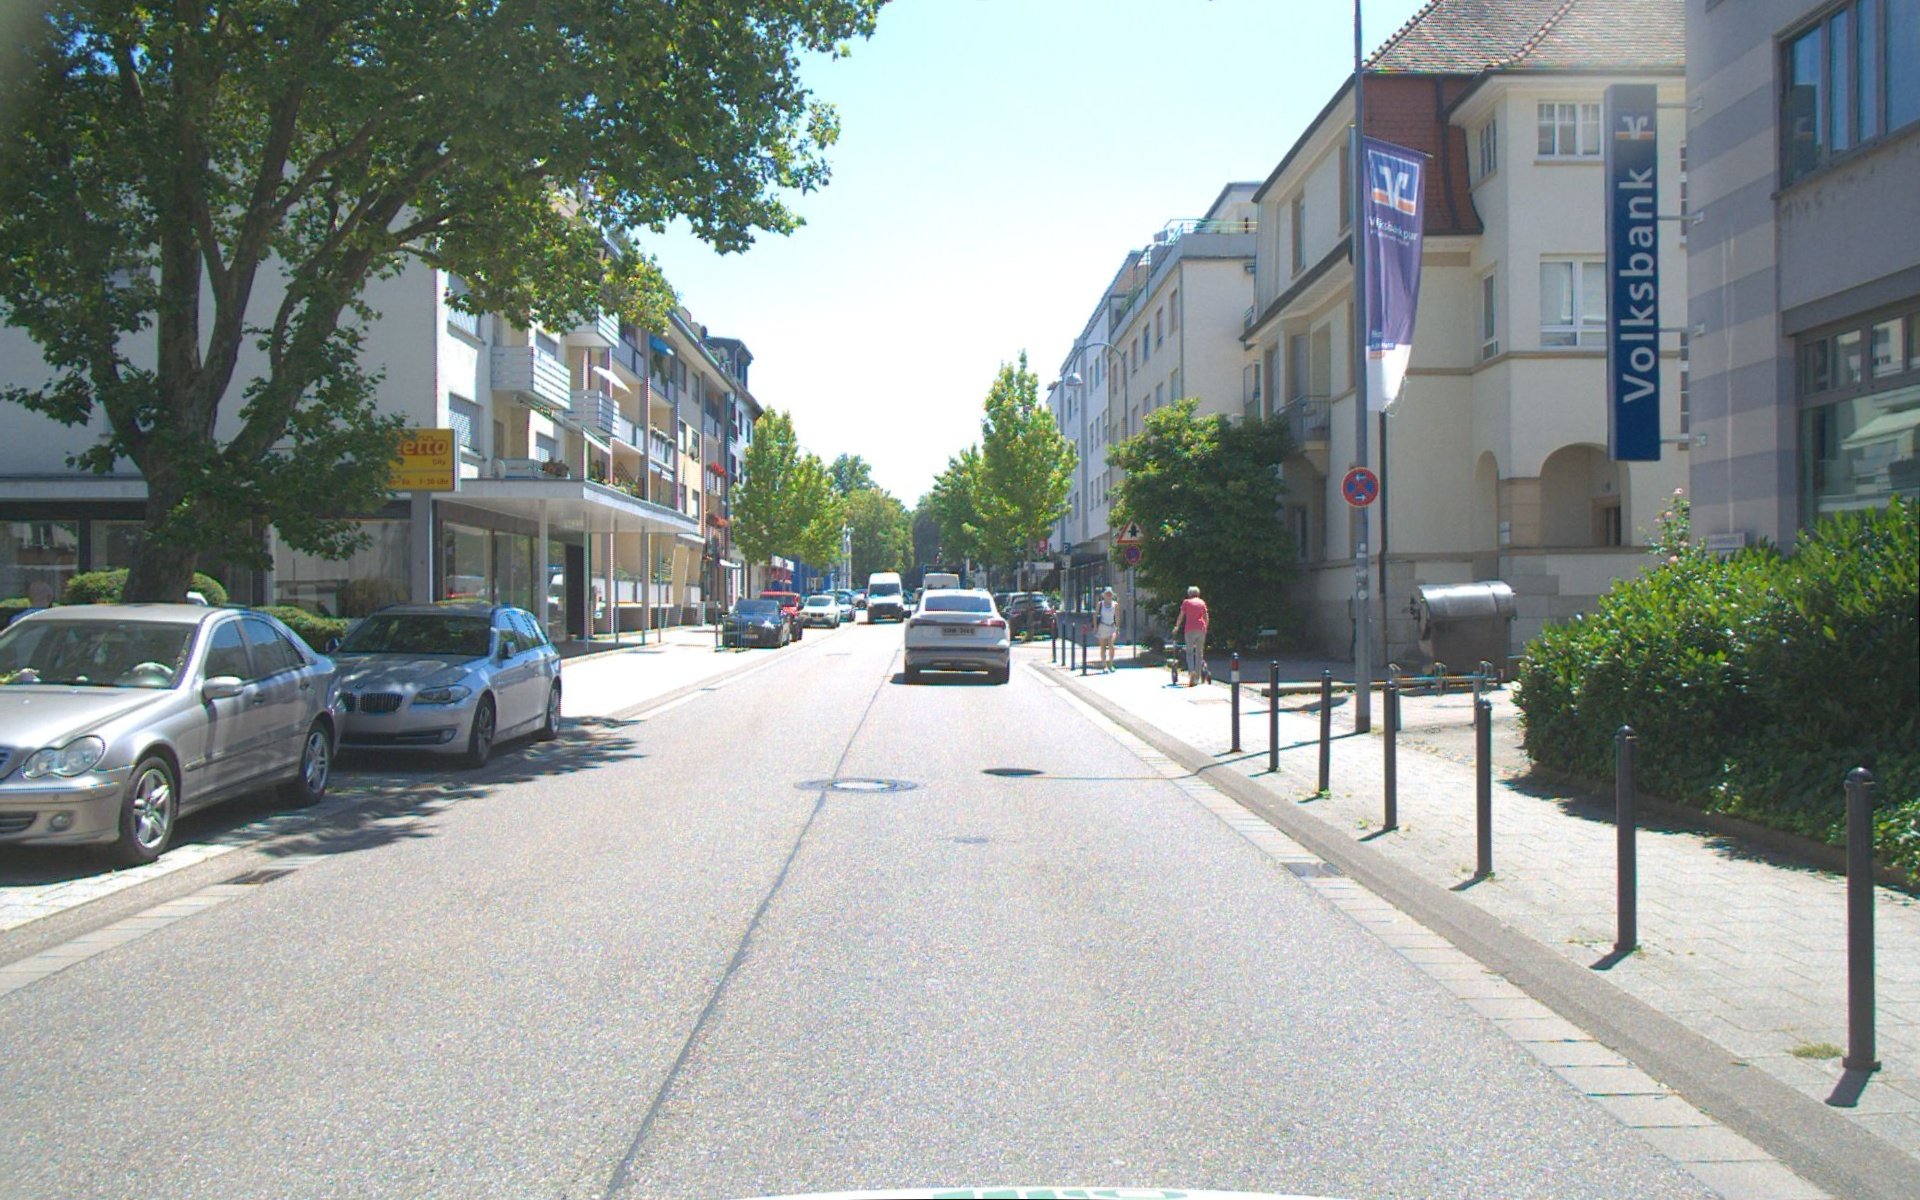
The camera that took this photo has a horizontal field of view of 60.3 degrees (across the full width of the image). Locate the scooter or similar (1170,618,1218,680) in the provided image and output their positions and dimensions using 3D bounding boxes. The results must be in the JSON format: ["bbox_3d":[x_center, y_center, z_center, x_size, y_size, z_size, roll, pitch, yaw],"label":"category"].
[{"bbox_3d":[3.879,0.810,27.480,0.650,0.980,0.753,-1,0,-1],"label":"scooter or similar"}]

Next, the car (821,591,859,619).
[{"bbox_3d":[-6.703,0.249,92.535,1.716,1.478,4.401,1,0,1],"label":"car"}]

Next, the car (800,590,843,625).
[{"bbox_3d":[-6.796,0.349,81.665,1.716,1.646,4.400,1,0,0],"label":"car"}]

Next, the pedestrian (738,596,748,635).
[{"bbox_3d":[-9.900,0.709,75.543,0.388,1.765,0.444,-1,0,-12],"label":"pedestrian"}]

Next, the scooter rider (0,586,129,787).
[{"bbox_3d":[-7.473,0.697,13.818,0.576,1.603,0.877,2,0,0],"label":"scooter rider"}]

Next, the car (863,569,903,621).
[{"bbox_3d":[-4.207,-0.300,91.349,1.995,2.676,7.105,-2,0,-1],"label":"car"}]

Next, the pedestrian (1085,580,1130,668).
[{"bbox_3d":[2.875,0.467,32.204,0.686,1.655,0.783,-3,0,-3],"label":"pedestrian"}]

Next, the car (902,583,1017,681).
[{"bbox_3d":[-0.081,0.548,30.607,1.953,1.661,3.998,1,0,-2],"label":"car"}]

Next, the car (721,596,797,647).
[{"bbox_3d":[-6.246,0.639,51.889,1.858,1.442,5.046,2,0,-2],"label":"car"}]

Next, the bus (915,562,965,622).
[{"bbox_3d":[-1.100,-0.450,96.142,2.606,3.278,7.302,1,0,1],"label":"bus"}]

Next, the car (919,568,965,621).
[{"bbox_3d":[-0.901,-0.243,81.735,2.112,2.484,5.282,1,0,-1],"label":"car"}]

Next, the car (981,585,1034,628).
[{"bbox_3d":[1.992,0.273,70.758,1.819,1.704,4.534,-2,0,-4],"label":"car"}]

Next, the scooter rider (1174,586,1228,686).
[{"bbox_3d":[3.900,0.565,26.816,0.701,1.575,0.770,-2,0,-3],"label":"scooter rider"}]

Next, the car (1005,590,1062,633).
[{"bbox_3d":[2.596,0.395,59.285,1.857,1.463,4.544,-1,0,0],"label":"car"}]

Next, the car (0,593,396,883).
[{"bbox_3d":[-5.460,0.702,10.935,1.941,1.477,4.866,0,0,-2],"label":"car"}]

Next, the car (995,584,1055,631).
[{"bbox_3d":[2.518,0.277,65.426,1.859,1.704,4.687,-2,0,-4],"label":"car"}]

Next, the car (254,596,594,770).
[{"bbox_3d":[-5.191,0.715,16.838,1.941,1.477,5.148,0,0,-2],"label":"car"}]

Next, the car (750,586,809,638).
[{"bbox_3d":[-6.334,0.388,58.363,1.717,1.732,4.100,1,0,-2],"label":"car"}]

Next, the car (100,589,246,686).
[{"bbox_3d":[-13.516,0.592,28.286,1.872,1.512,3.953,-1,0,-31],"label":"car"}]

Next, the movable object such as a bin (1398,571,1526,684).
[{"bbox_3d":[7.161,0.387,23.685,1.340,1.484,1.380,-4,0,0],"label":"movable object such as a bin"}]
